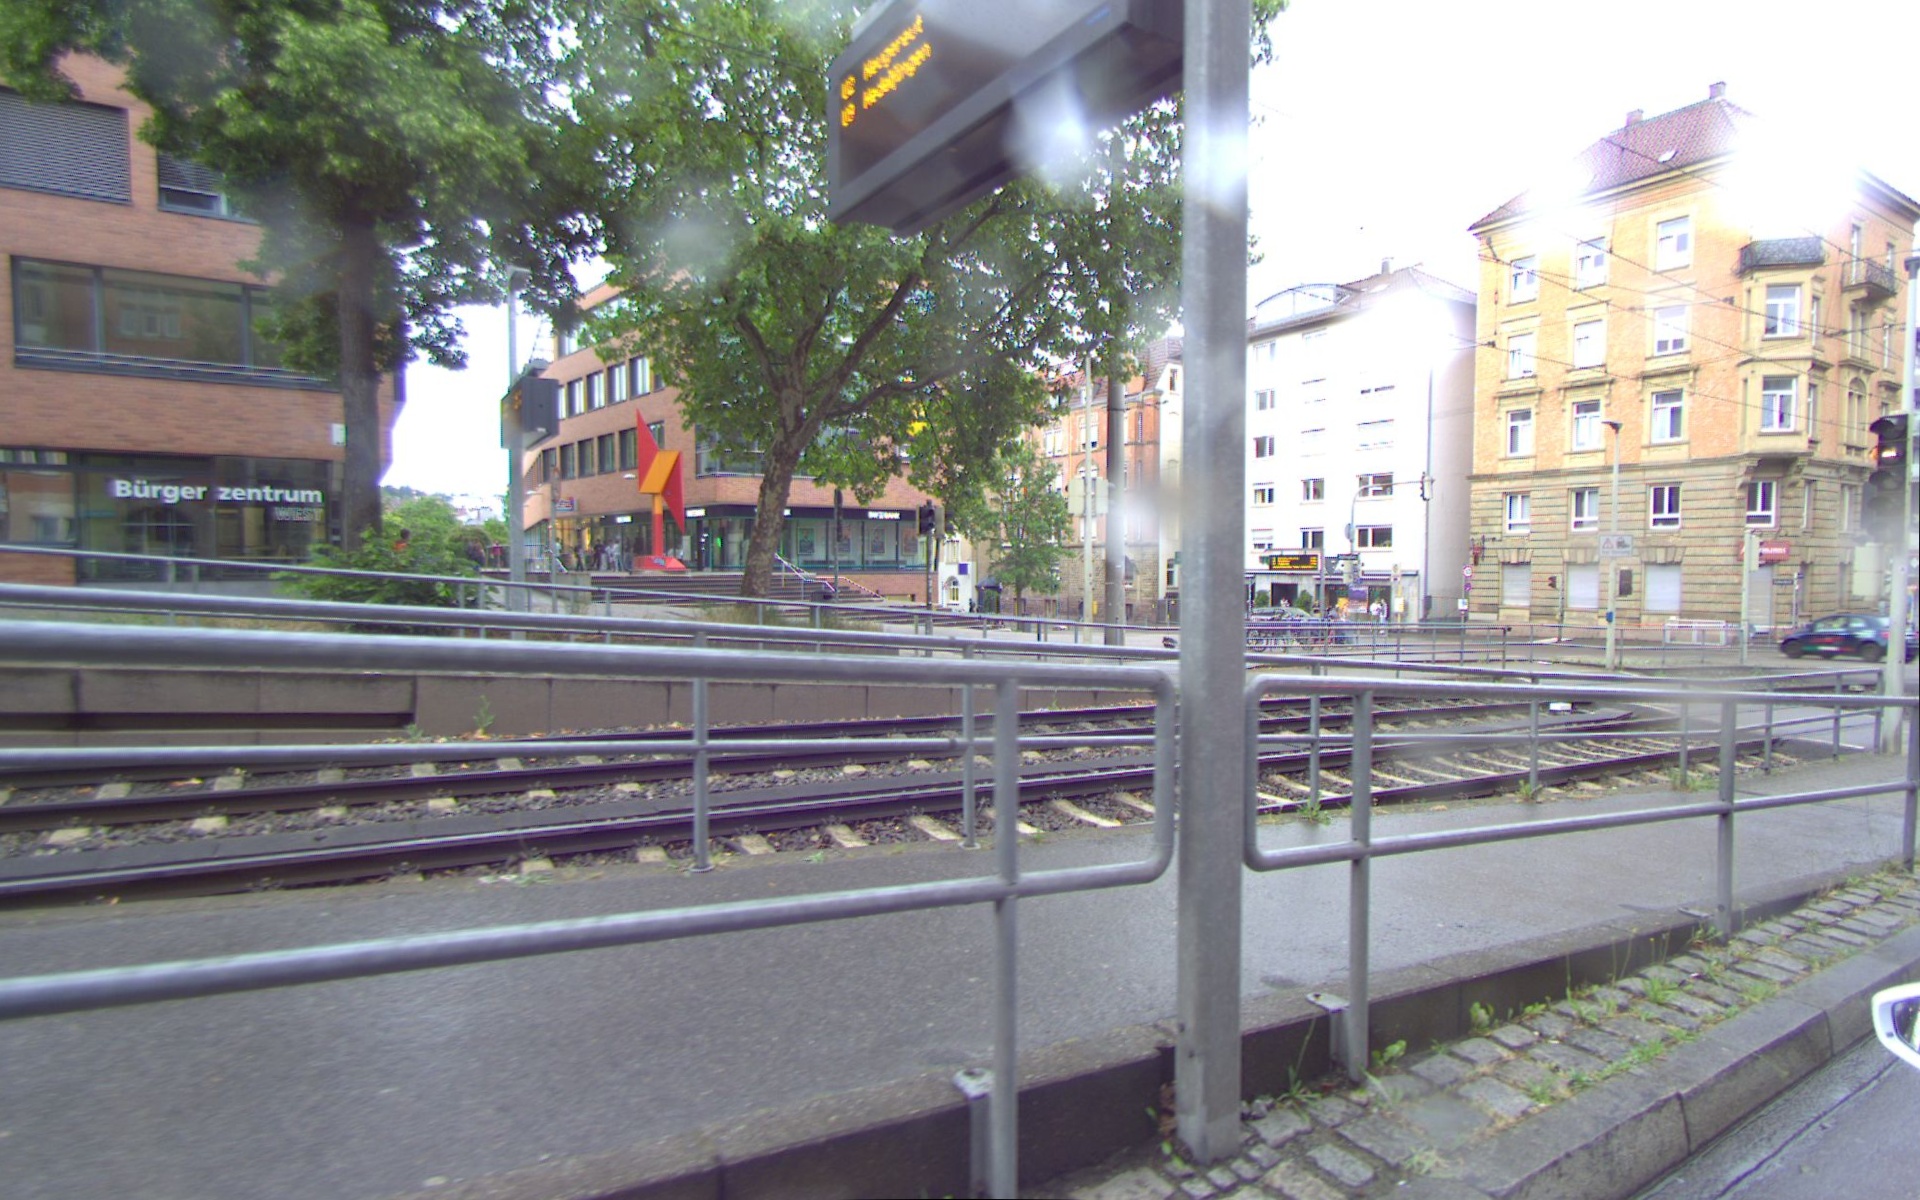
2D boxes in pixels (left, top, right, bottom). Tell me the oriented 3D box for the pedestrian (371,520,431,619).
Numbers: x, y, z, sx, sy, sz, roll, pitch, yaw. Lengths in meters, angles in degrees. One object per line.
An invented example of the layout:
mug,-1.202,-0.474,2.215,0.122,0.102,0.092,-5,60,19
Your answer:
pedestrian,-11.877,-0.638,21.332,0.973,2.041,0.726,1,1,-41

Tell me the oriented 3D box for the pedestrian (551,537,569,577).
pedestrian,-20.829,-2.242,52.328,0.711,2.040,0.713,1,0,-37

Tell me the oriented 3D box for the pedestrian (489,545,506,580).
pedestrian,-27.220,-2.197,59.105,0.711,2.040,0.713,1,0,-38

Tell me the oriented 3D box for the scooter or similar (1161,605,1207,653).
scooter or similar,5.803,0.748,26.021,1.090,1.211,0.362,1,1,7

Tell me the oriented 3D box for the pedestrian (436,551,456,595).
pedestrian,-24.206,-1.249,47.333,0.711,2.040,0.713,1,0,-37

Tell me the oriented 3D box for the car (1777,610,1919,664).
car,28.037,1.136,31.763,1.402,1.509,3.149,1,1,-18

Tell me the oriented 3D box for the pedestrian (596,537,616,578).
pedestrian,-18.123,-2.168,51.434,0.716,2.040,0.708,1,0,-45

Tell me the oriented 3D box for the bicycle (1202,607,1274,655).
bicycle,7.493,0.813,27.127,0.514,1.211,1.853,1,1,-43

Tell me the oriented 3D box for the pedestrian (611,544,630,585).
pedestrian,-17.055,-1.769,50.462,0.711,2.040,0.713,1,0,-37

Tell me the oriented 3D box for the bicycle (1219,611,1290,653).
bicycle,8.168,0.880,27.909,0.514,1.076,1.852,1,1,-43

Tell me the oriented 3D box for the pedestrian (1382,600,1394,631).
pedestrian,23.040,0.818,54.059,0.507,1.643,0.486,2,1,18

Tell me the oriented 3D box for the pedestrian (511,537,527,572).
pedestrian,-26.133,-2.709,59.506,0.710,2.041,0.713,1,1,-36

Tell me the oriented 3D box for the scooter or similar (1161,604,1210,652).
scooter or similar,5.976,0.741,26.642,1.226,1.211,0.299,1,1,7

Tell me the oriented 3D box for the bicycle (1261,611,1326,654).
bicycle,9.700,0.929,29.235,0.514,1.158,1.750,1,1,-43

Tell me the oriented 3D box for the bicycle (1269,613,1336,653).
bicycle,10.144,0.954,29.791,0.514,1.079,1.853,1,1,-43

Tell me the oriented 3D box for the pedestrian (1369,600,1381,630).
pedestrian,22.552,0.811,54.555,0.507,1.643,0.486,2,1,18
